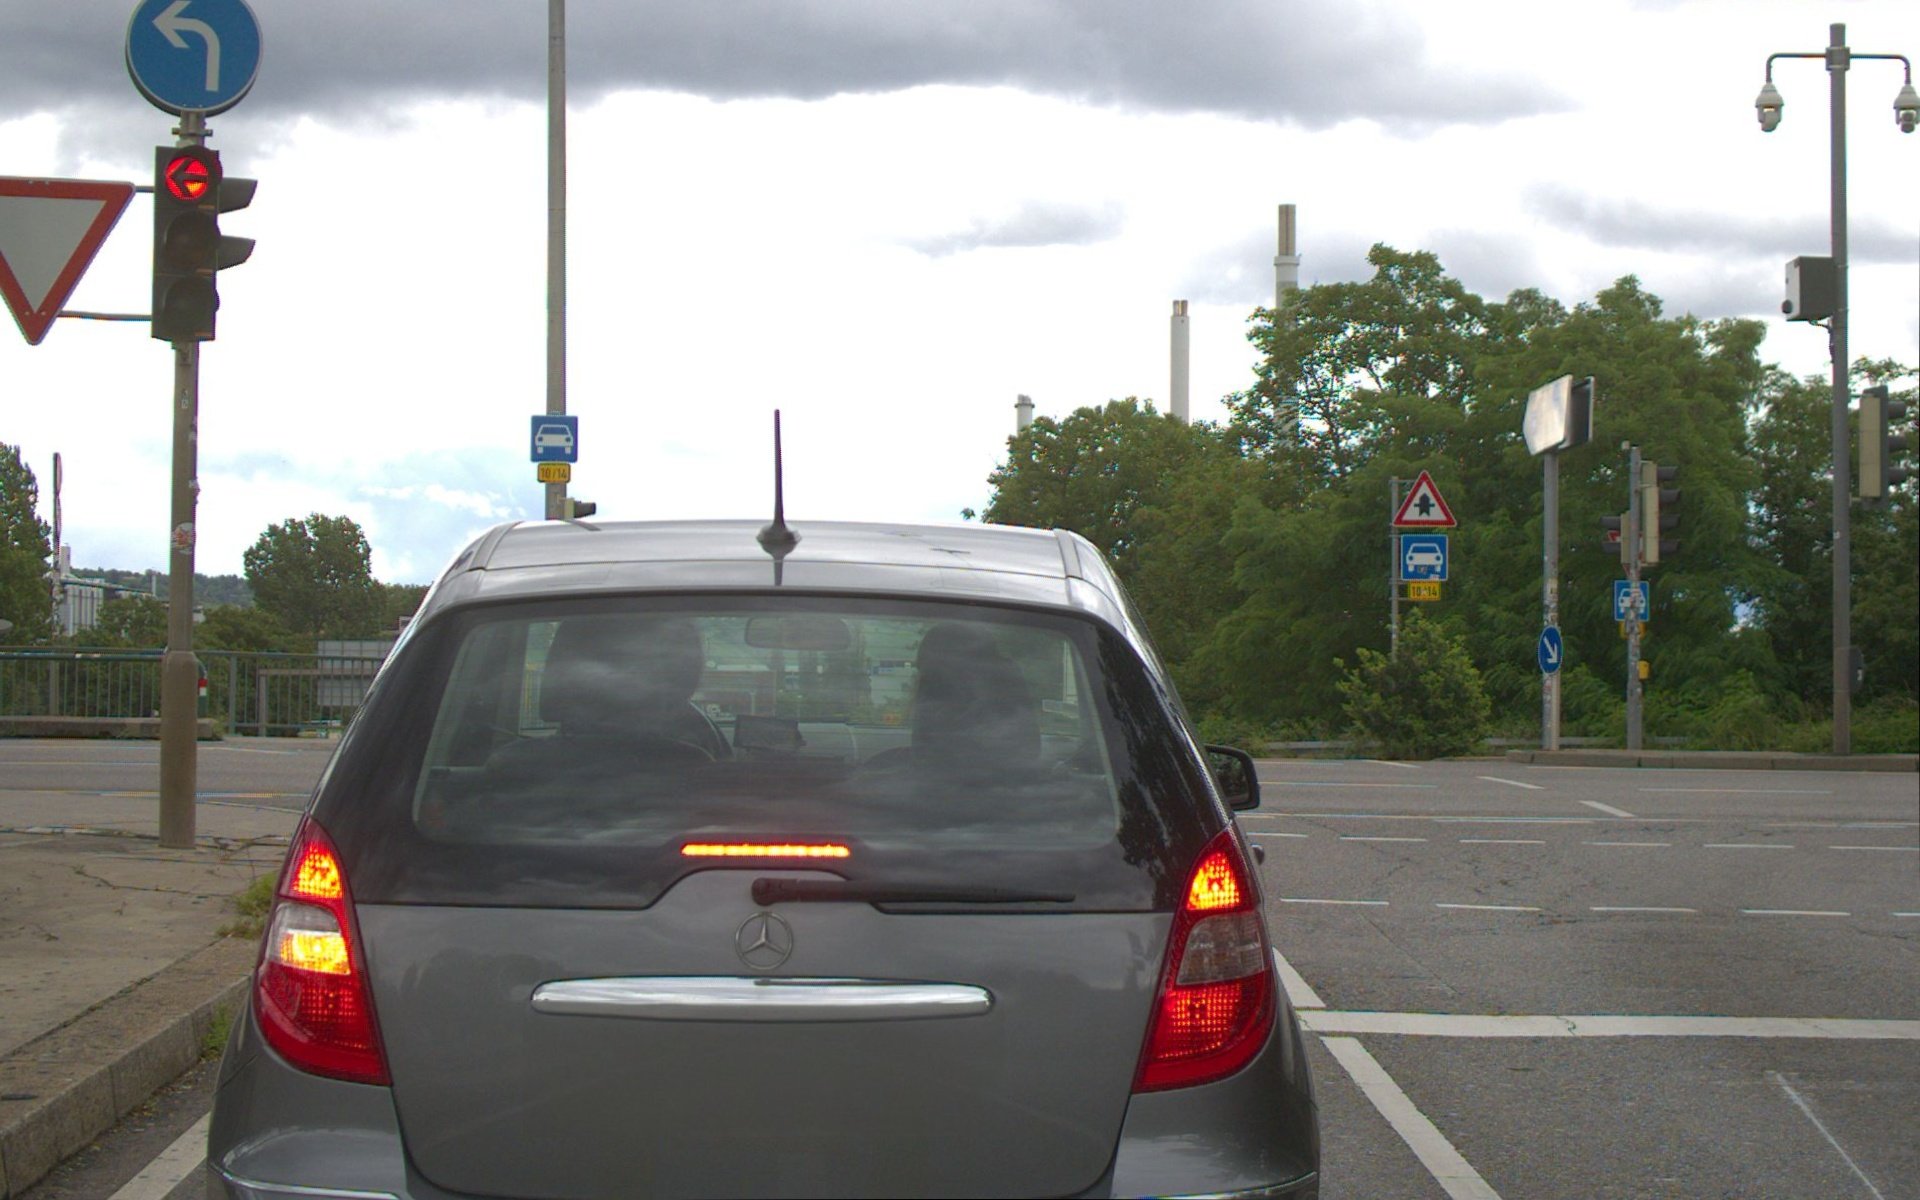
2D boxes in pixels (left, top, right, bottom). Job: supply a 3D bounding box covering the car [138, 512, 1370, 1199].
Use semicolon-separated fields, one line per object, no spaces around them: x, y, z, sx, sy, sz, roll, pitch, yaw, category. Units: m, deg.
-0.311;0.637;6.659;1.739;1.538;3.541;1;1;0;car
